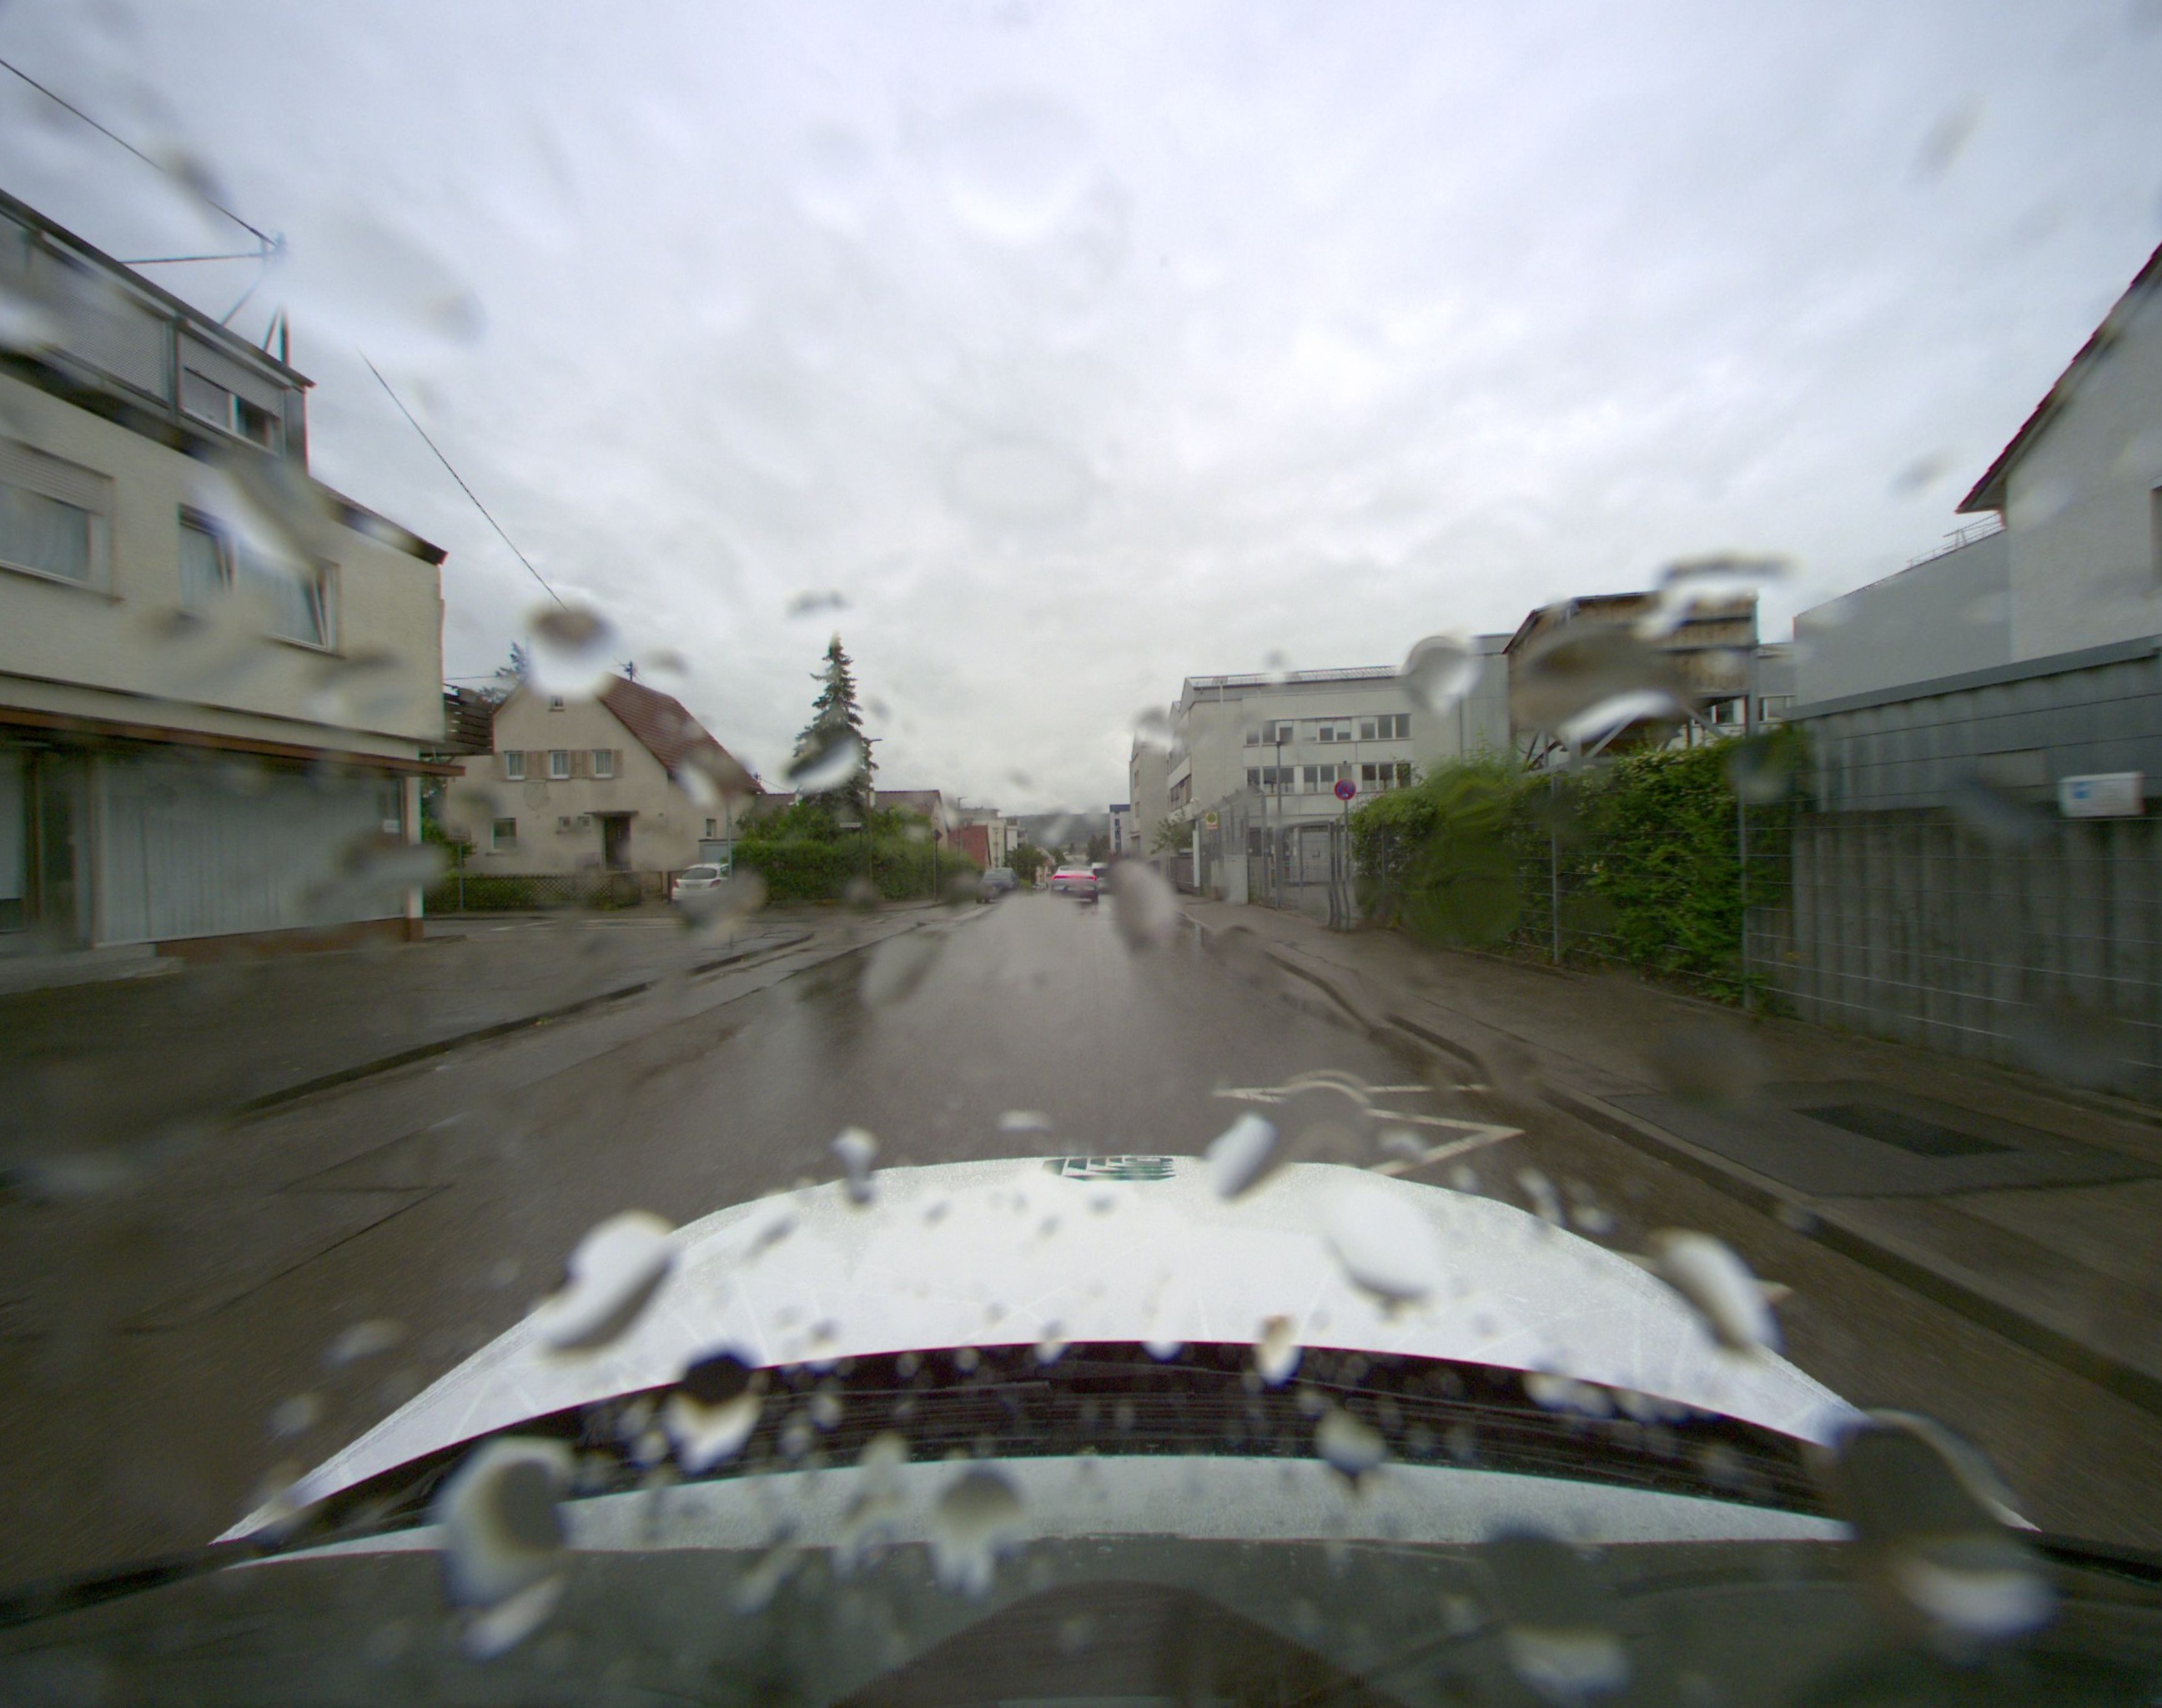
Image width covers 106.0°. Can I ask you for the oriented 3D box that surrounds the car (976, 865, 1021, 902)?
[{"bbox_3d":[-3.683,1.300,37.027,1.671,1.528,3.998,-1,-1,-1],"label":"car"}]

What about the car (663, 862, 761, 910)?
[{"bbox_3d":[-13.606,1.118,30.320,1.788,1.508,4.000,-1,1,0],"label":"car"}]

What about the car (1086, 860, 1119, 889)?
[{"bbox_3d":[1.556,1.561,60.181,1.989,2.014,3.994,-2,-2,-4],"label":"car"}]

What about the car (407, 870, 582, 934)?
[{"bbox_3d":[-16.947,1.380,23.870,1.854,1.659,4.541,-1,-3,-1],"label":"car"}]

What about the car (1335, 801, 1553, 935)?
[{"bbox_3d":[8.479,0.249,19.862,1.992,2.684,5.938,-3,1,-7],"label":"car"}]

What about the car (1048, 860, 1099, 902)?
[{"bbox_3d":[-0.268,1.088,34.605,1.987,1.502,4.671,-1,1,1],"label":"car"}]
